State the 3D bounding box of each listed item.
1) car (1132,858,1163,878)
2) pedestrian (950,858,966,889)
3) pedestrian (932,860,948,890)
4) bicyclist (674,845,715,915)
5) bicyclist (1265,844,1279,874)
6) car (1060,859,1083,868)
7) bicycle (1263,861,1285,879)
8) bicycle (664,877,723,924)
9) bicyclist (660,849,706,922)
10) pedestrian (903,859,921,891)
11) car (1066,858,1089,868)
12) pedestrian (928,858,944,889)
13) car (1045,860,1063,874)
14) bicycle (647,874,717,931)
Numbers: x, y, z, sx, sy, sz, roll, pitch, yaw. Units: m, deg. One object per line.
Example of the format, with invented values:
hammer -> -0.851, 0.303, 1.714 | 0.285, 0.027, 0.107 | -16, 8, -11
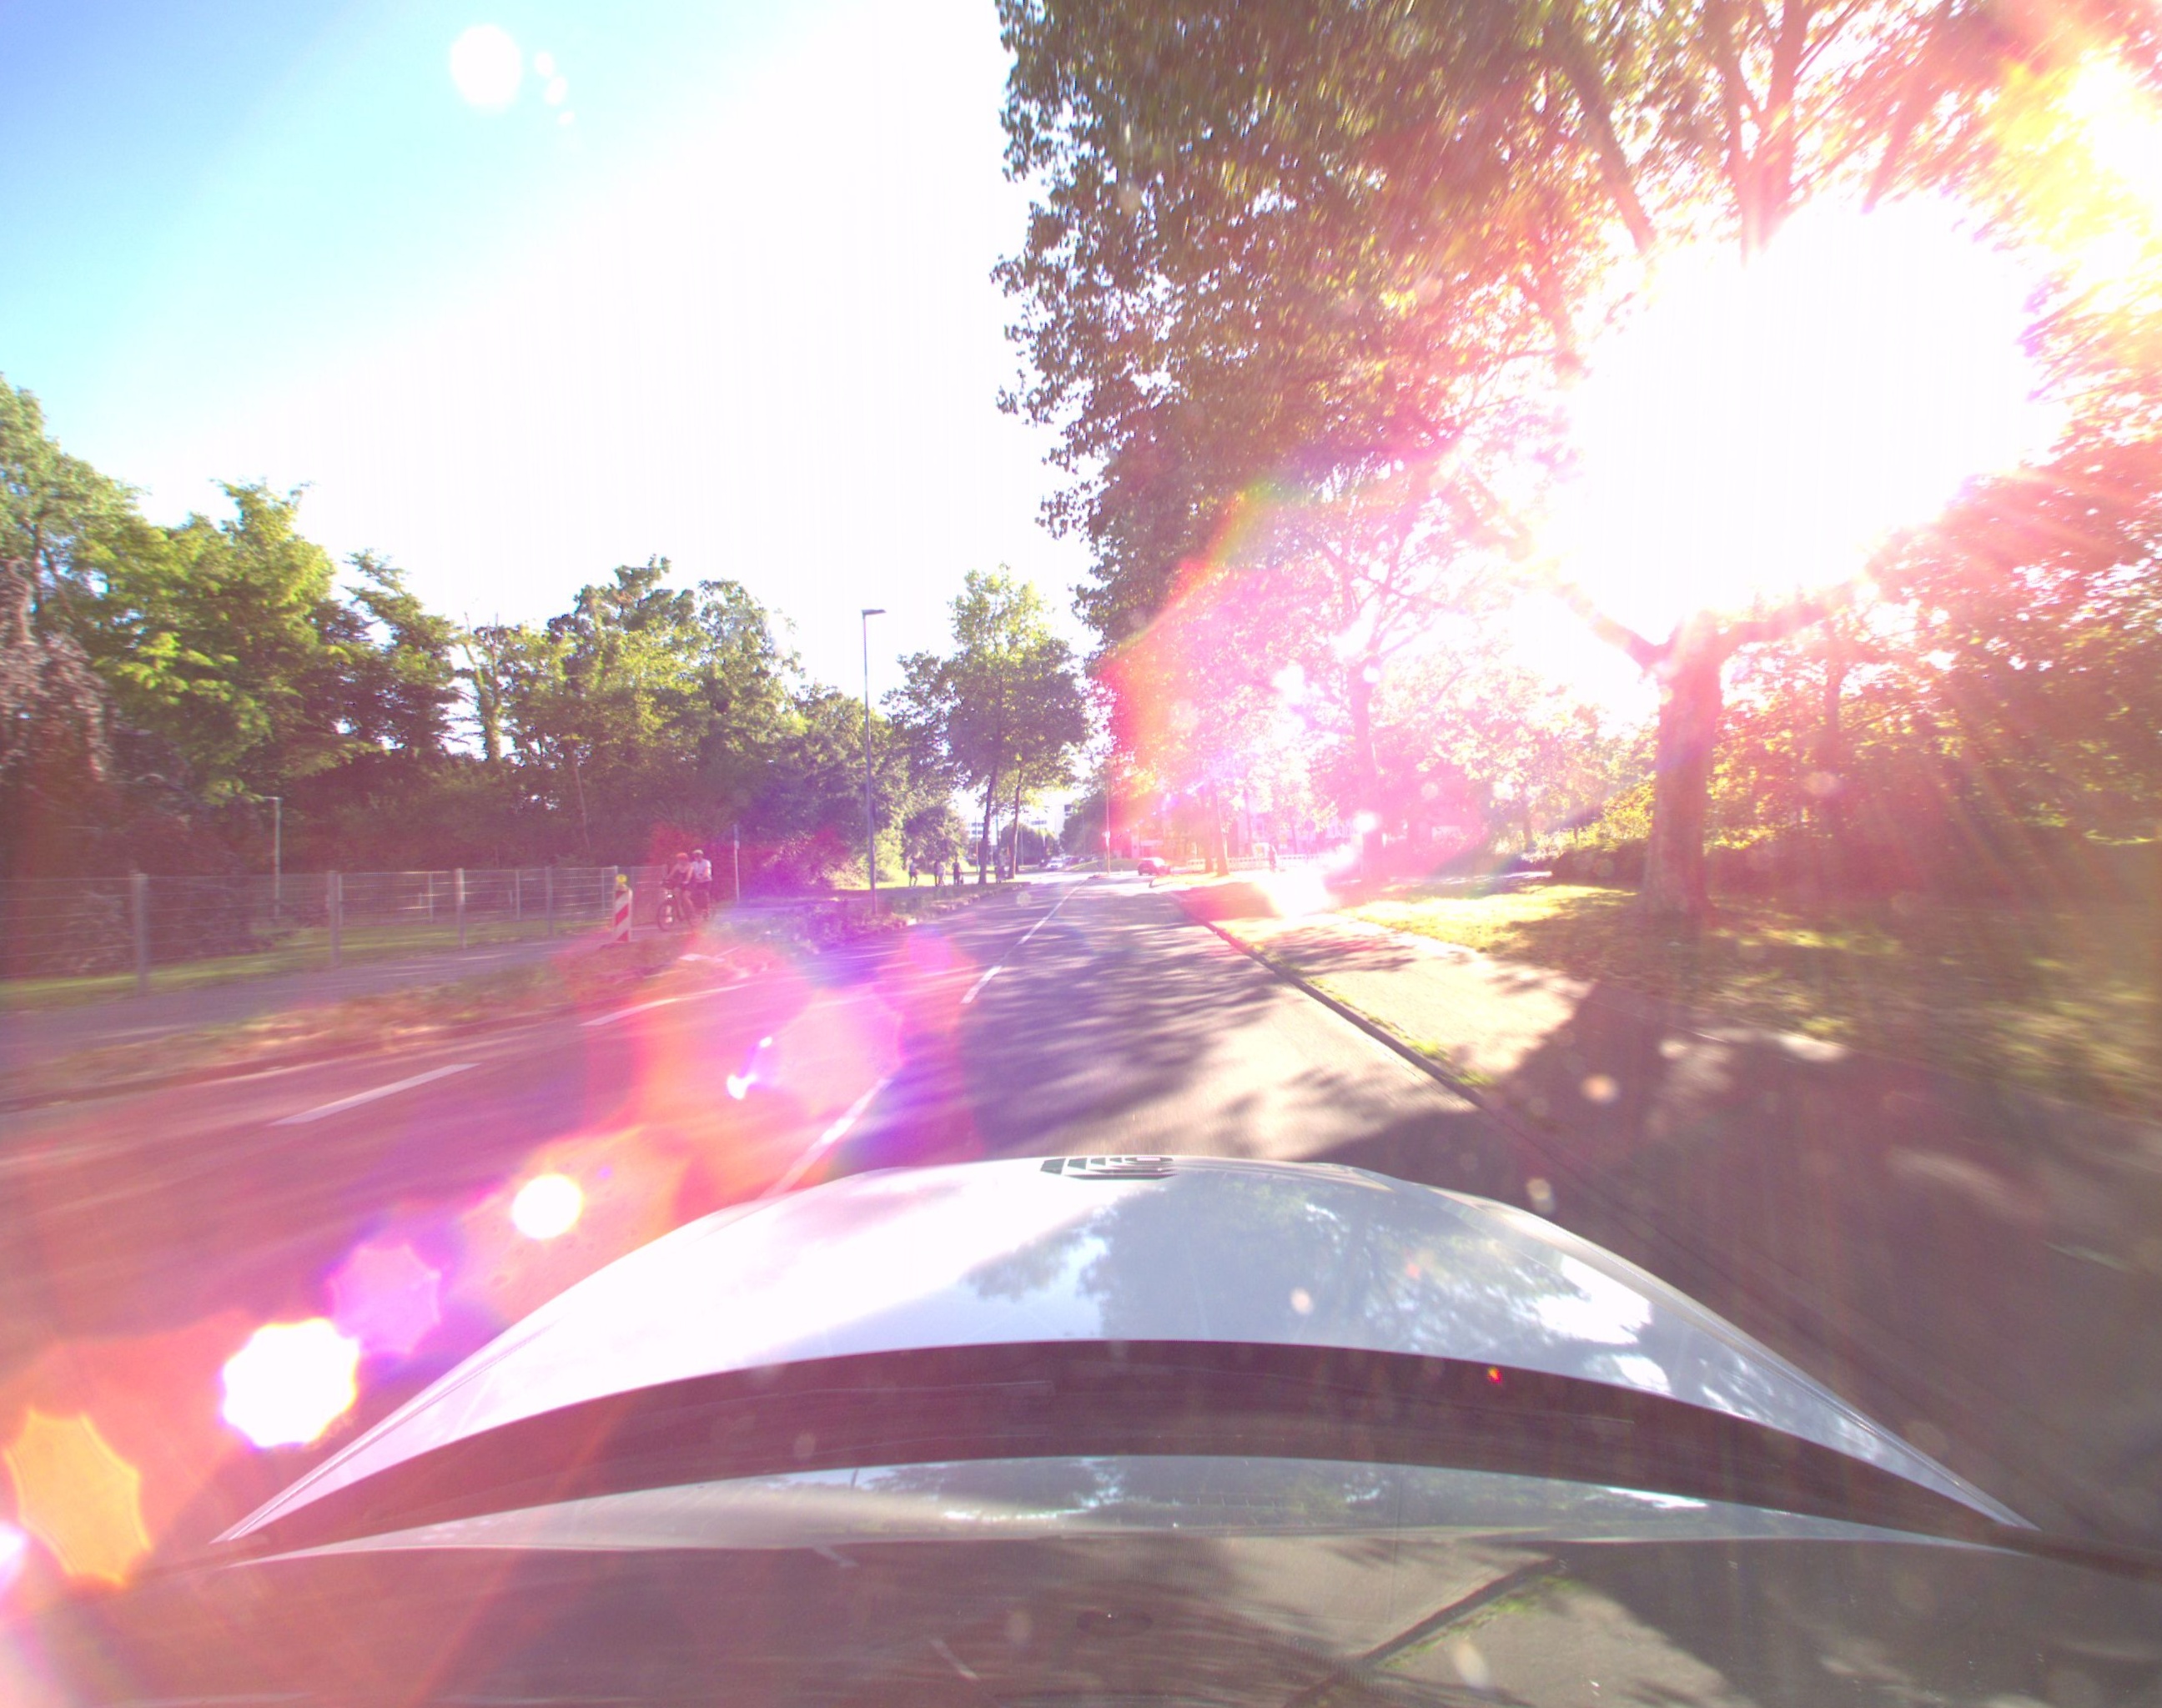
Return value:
car -> 5.626, 1.151, 68.313 | 1.825, 1.605, 3.879 | -2, 0, 16
pedestrian -> -7.100, 1.136, 47.011 | 0.745, 1.739, 0.852 | -2, -1, 3
pedestrian -> -7.786, 1.169, 45.049 | 0.569, 1.638, 0.638 | -2, -1, 21
bicyclist -> -10.404, 0.686, 21.938 | 0.577, 1.832, 0.968 | -2, -2, 1
bicyclist -> 11.120, 0.301, 47.421 | 0.648, 1.705, 0.872 | 0, -1, 2
car -> -1.804, 1.761, 156.639 | 4.010, 1.747, 1.779 | 0, -1, -28
bicycle -> 11.118, 0.910, 47.043 | 0.767, 0.964, 2.175 | -3, -1, 2
bicycle -> -10.387, 1.229, 21.910 | 0.577, 1.186, 2.032 | -2, -2, 1
bicyclist -> -9.575, 0.744, 19.626 | 0.577, 1.679, 0.971 | -2, -1, 1
pedestrian -> -9.306, 1.140, 44.909 | 0.626, 1.739, 0.669 | -2, -1, 37
car -> -0.643, 1.693, 153.903 | 4.010, 1.747, 1.779 | 0, -1, -28
pedestrian -> -8.366, 1.112, 46.994 | 0.662, 1.739, 0.752 | -2, -1, 3
car -> -3.247, 1.537, 98.470 | 1.987, 1.578, 3.998 | -2, -1, -1
bicycle -> -9.565, 1.124, 19.594 | 0.577, 1.245, 2.108 | -2, 0, 1
